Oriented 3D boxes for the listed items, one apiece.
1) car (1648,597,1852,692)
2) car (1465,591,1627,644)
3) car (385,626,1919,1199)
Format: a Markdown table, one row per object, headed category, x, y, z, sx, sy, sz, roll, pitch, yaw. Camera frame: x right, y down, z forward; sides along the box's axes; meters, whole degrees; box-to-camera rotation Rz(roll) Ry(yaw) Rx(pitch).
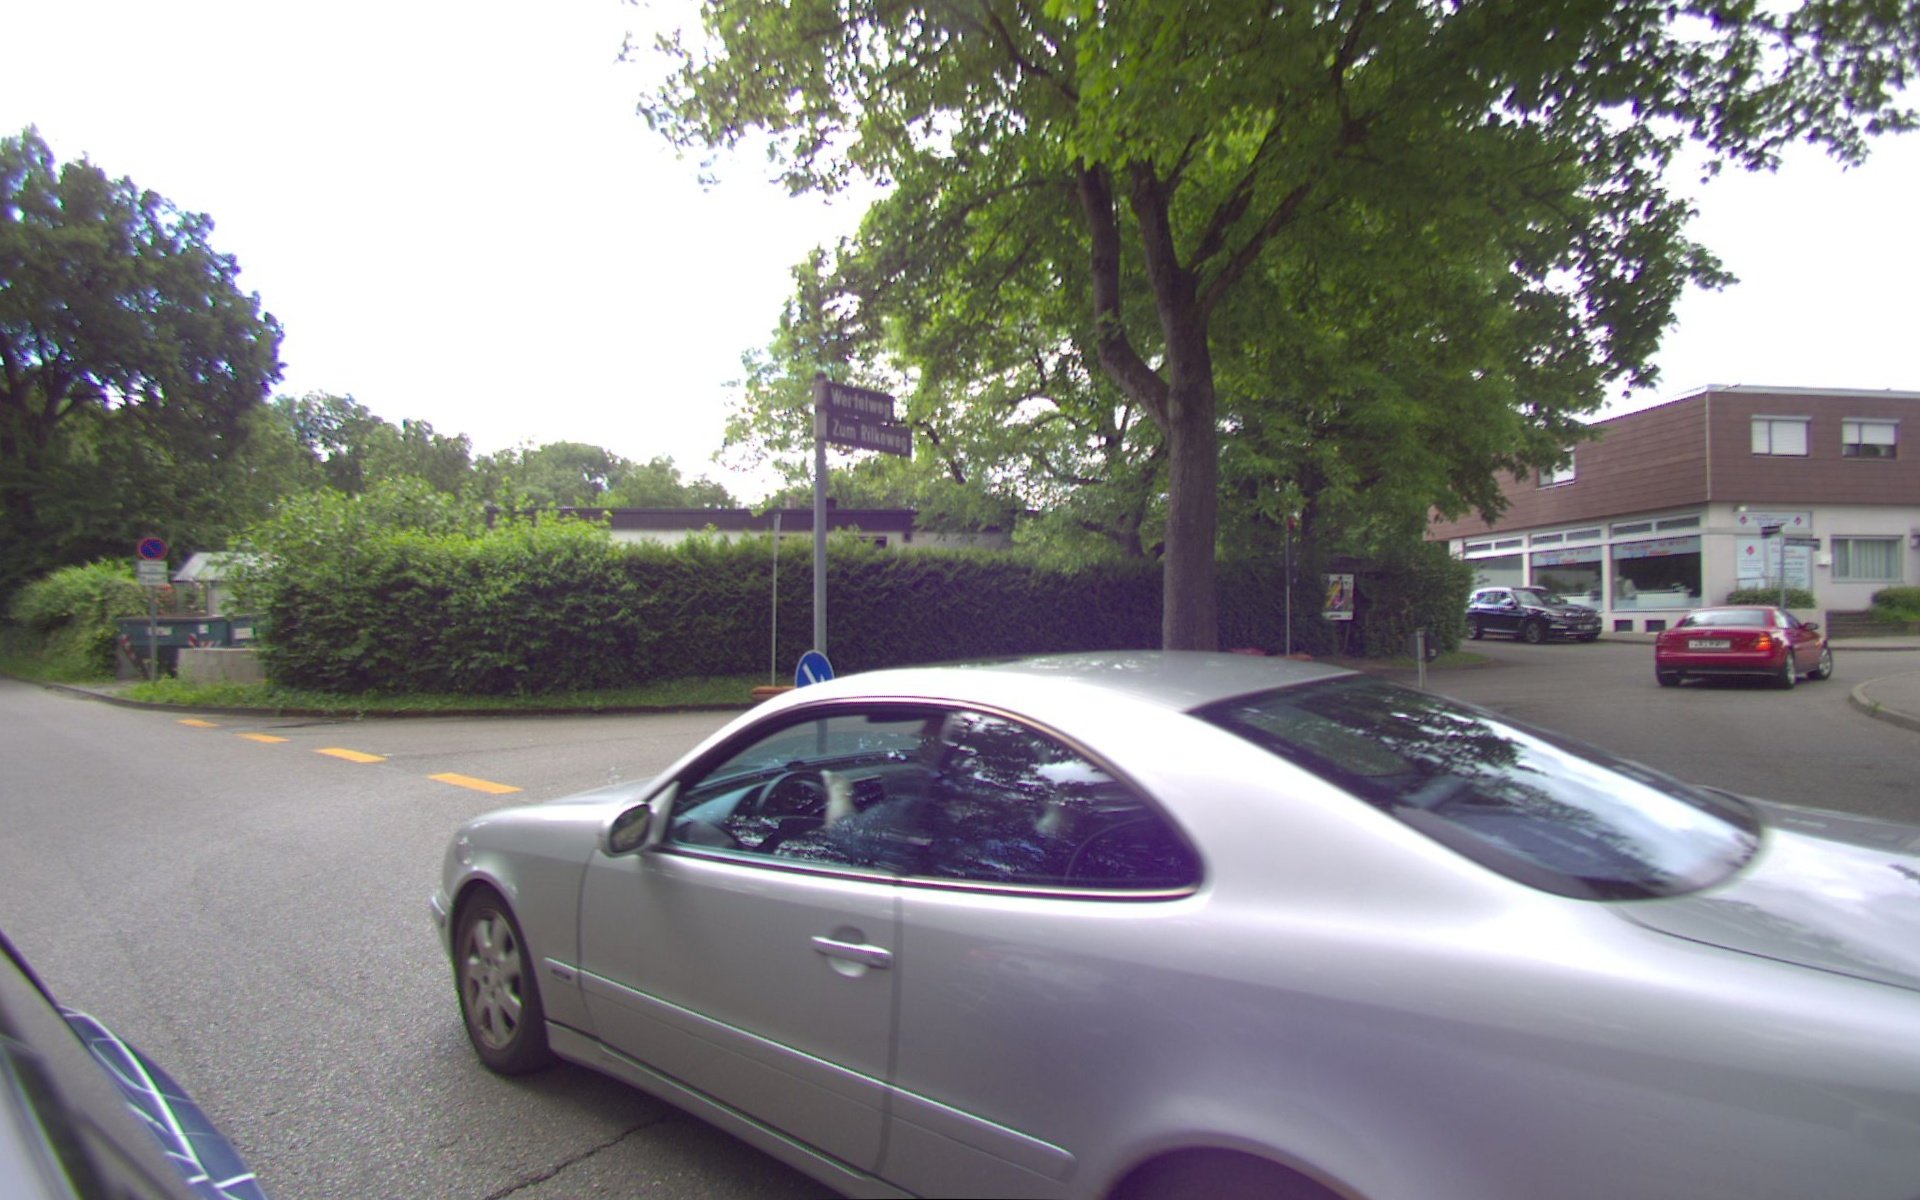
| category | x | y | z | sx | sy | sz | roll | pitch | yaw |
| --- | --- | --- | --- | --- | --- | --- | --- | --- | --- |
| car | 12.924 | 0.653 | 16.479 | 4.000 | 1.346 | 1.759 | 0 | -1 | -39 |
| car | 17.416 | 0.527 | 30.367 | 1.969 | 1.386 | 4.285 | -3 | -1 | -6 |
| car | 0.167 | 0.764 | 2.918 | 4.291 | 1.316 | 1.763 | -2 | -1 | 39 |
